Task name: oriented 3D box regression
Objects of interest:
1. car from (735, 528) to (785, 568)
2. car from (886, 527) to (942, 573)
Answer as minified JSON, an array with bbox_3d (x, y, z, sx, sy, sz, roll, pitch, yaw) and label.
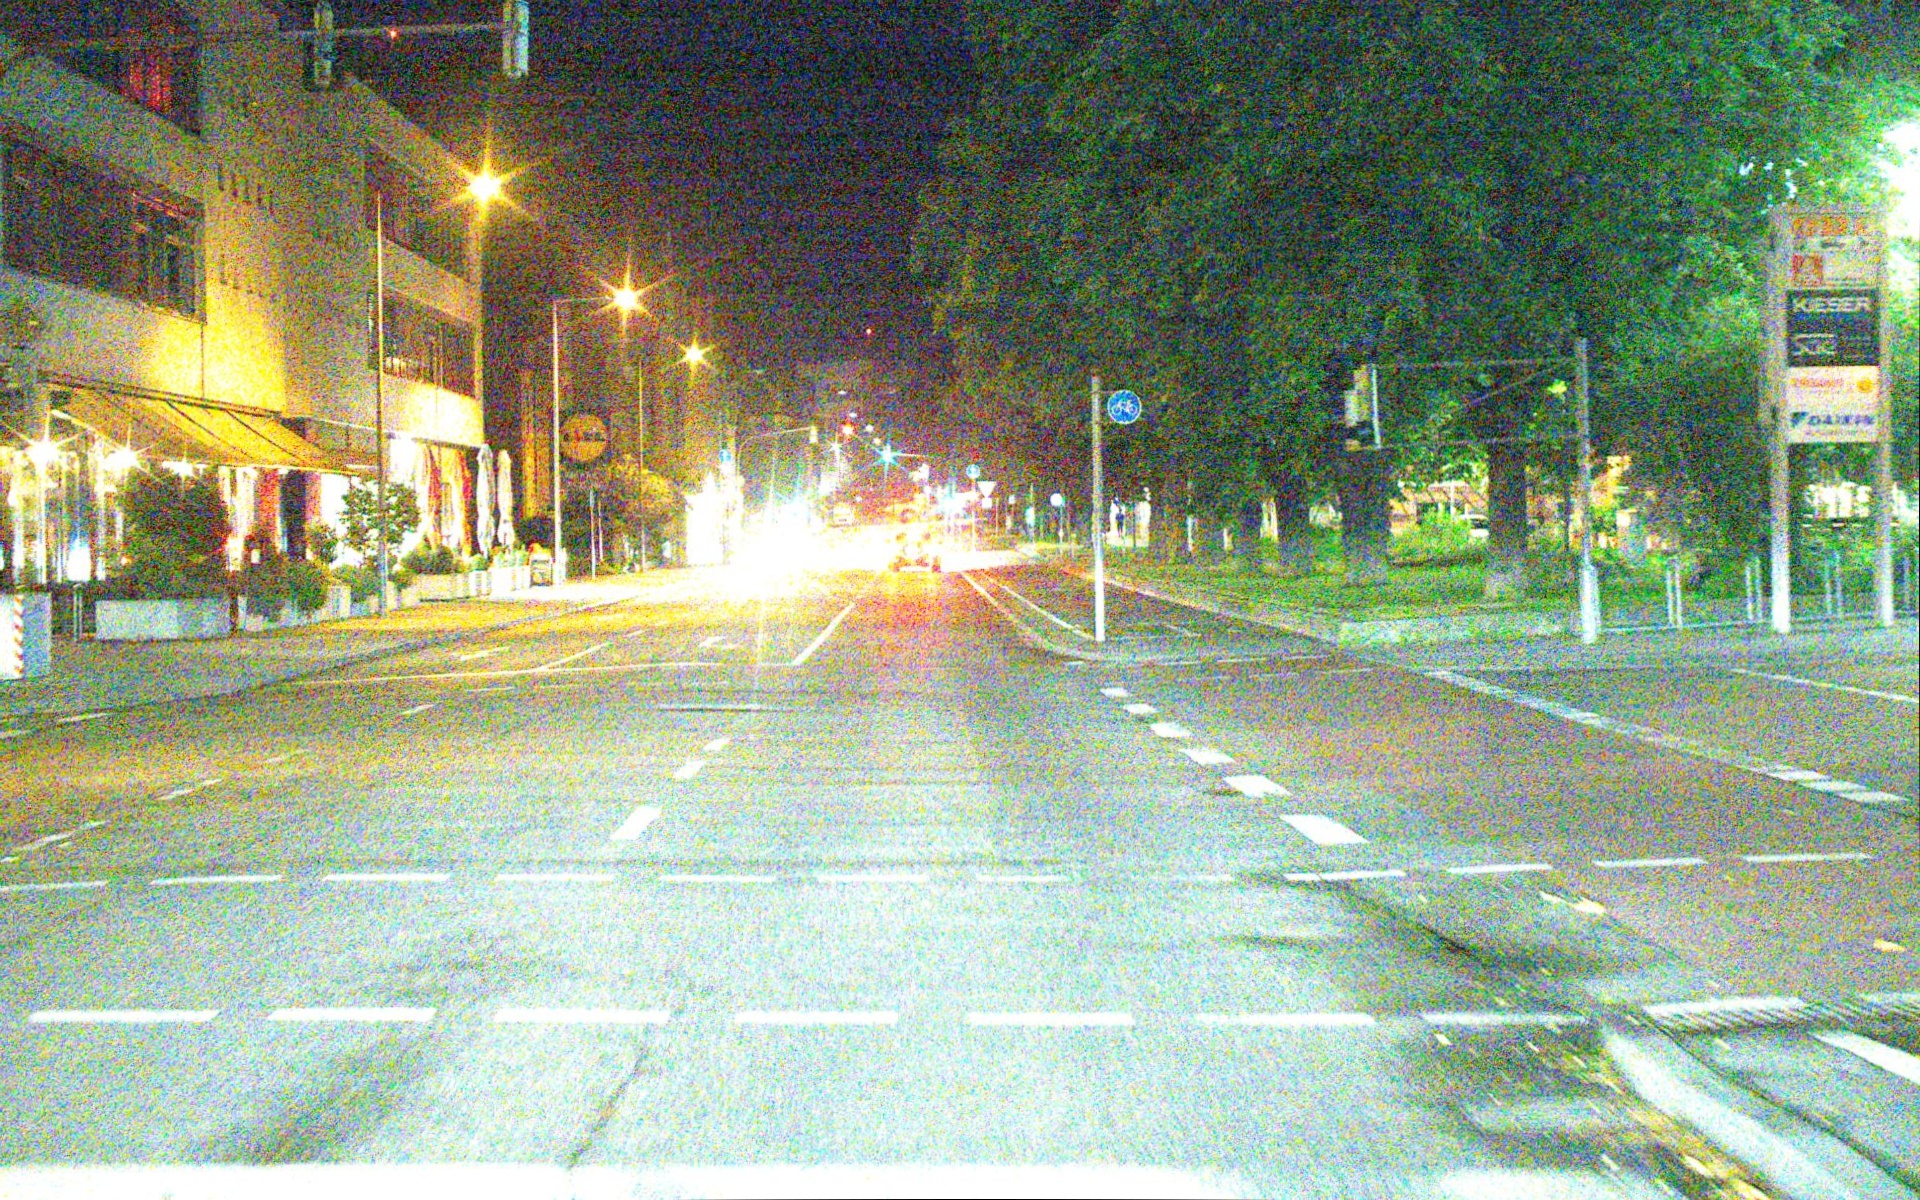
[{"bbox_3d":[-8.655,-2.264,148.689,1.993,1.637,4.001,-2,1,-2],"label":"car"},{"bbox_3d":[-1.716,-1.890,128.247,1.993,1.637,4.000,-2,1,-1],"label":"car"}]
